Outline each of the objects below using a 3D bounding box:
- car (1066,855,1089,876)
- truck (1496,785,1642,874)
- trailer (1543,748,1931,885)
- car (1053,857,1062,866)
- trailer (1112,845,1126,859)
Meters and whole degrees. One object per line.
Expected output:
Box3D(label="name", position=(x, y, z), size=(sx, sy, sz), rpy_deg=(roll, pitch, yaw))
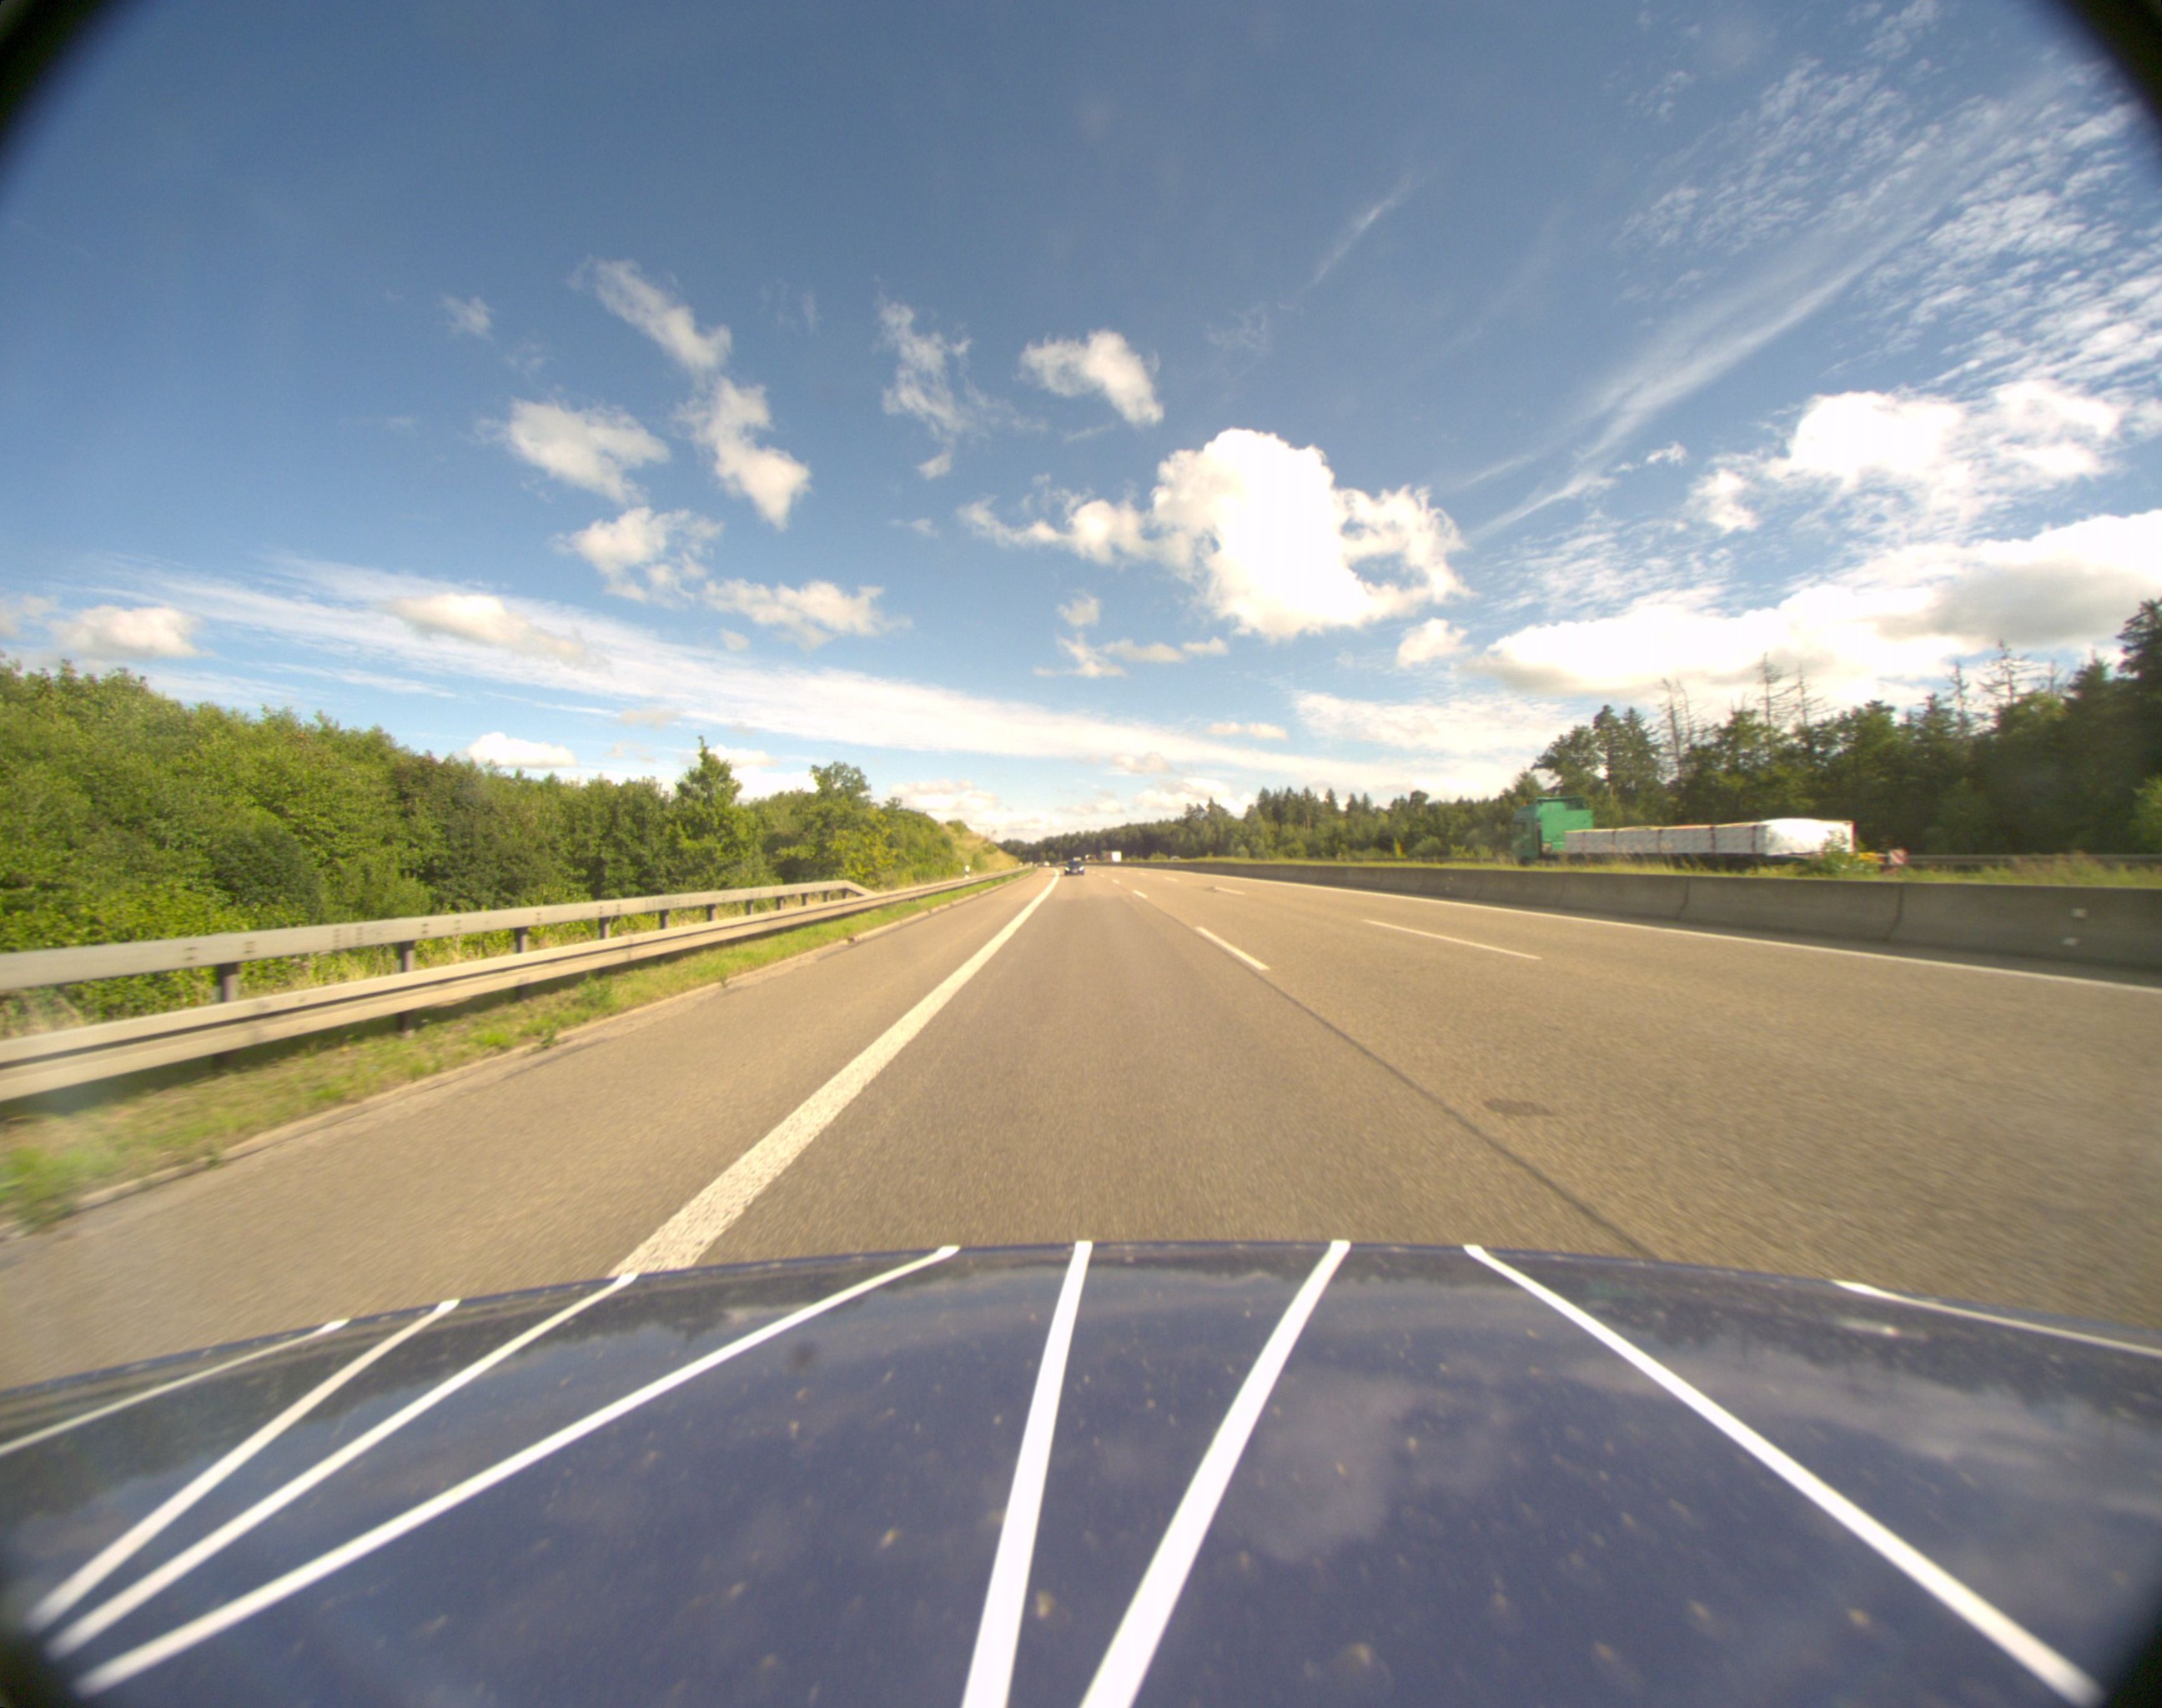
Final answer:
Box3D(label="car", position=(-0.385, 1.029, 71.362), size=(1.999, 1.827, 3.999), rpy_deg=(-2, 0, -2))
Box3D(label="truck", position=(23.941, -1.125, 37.694), size=(3.384, 3.985, 5.863), rpy_deg=(-2, 0, 0))
Box3D(label="trailer", position=(23.867, -1.127, 29.654), size=(3.384, 3.985, 13.640), rpy_deg=(-2, 0, 1))
Box3D(label="car", position=(-5.754, 1.742, 185.319), size=(1.999, 2.002, 3.999), rpy_deg=(-3, 0, -2))
Box3D(label="trailer", position=(12.014, -0.652, 242.823), size=(3.030, 4.084, 12.788), rpy_deg=(-2, 0, -2))
